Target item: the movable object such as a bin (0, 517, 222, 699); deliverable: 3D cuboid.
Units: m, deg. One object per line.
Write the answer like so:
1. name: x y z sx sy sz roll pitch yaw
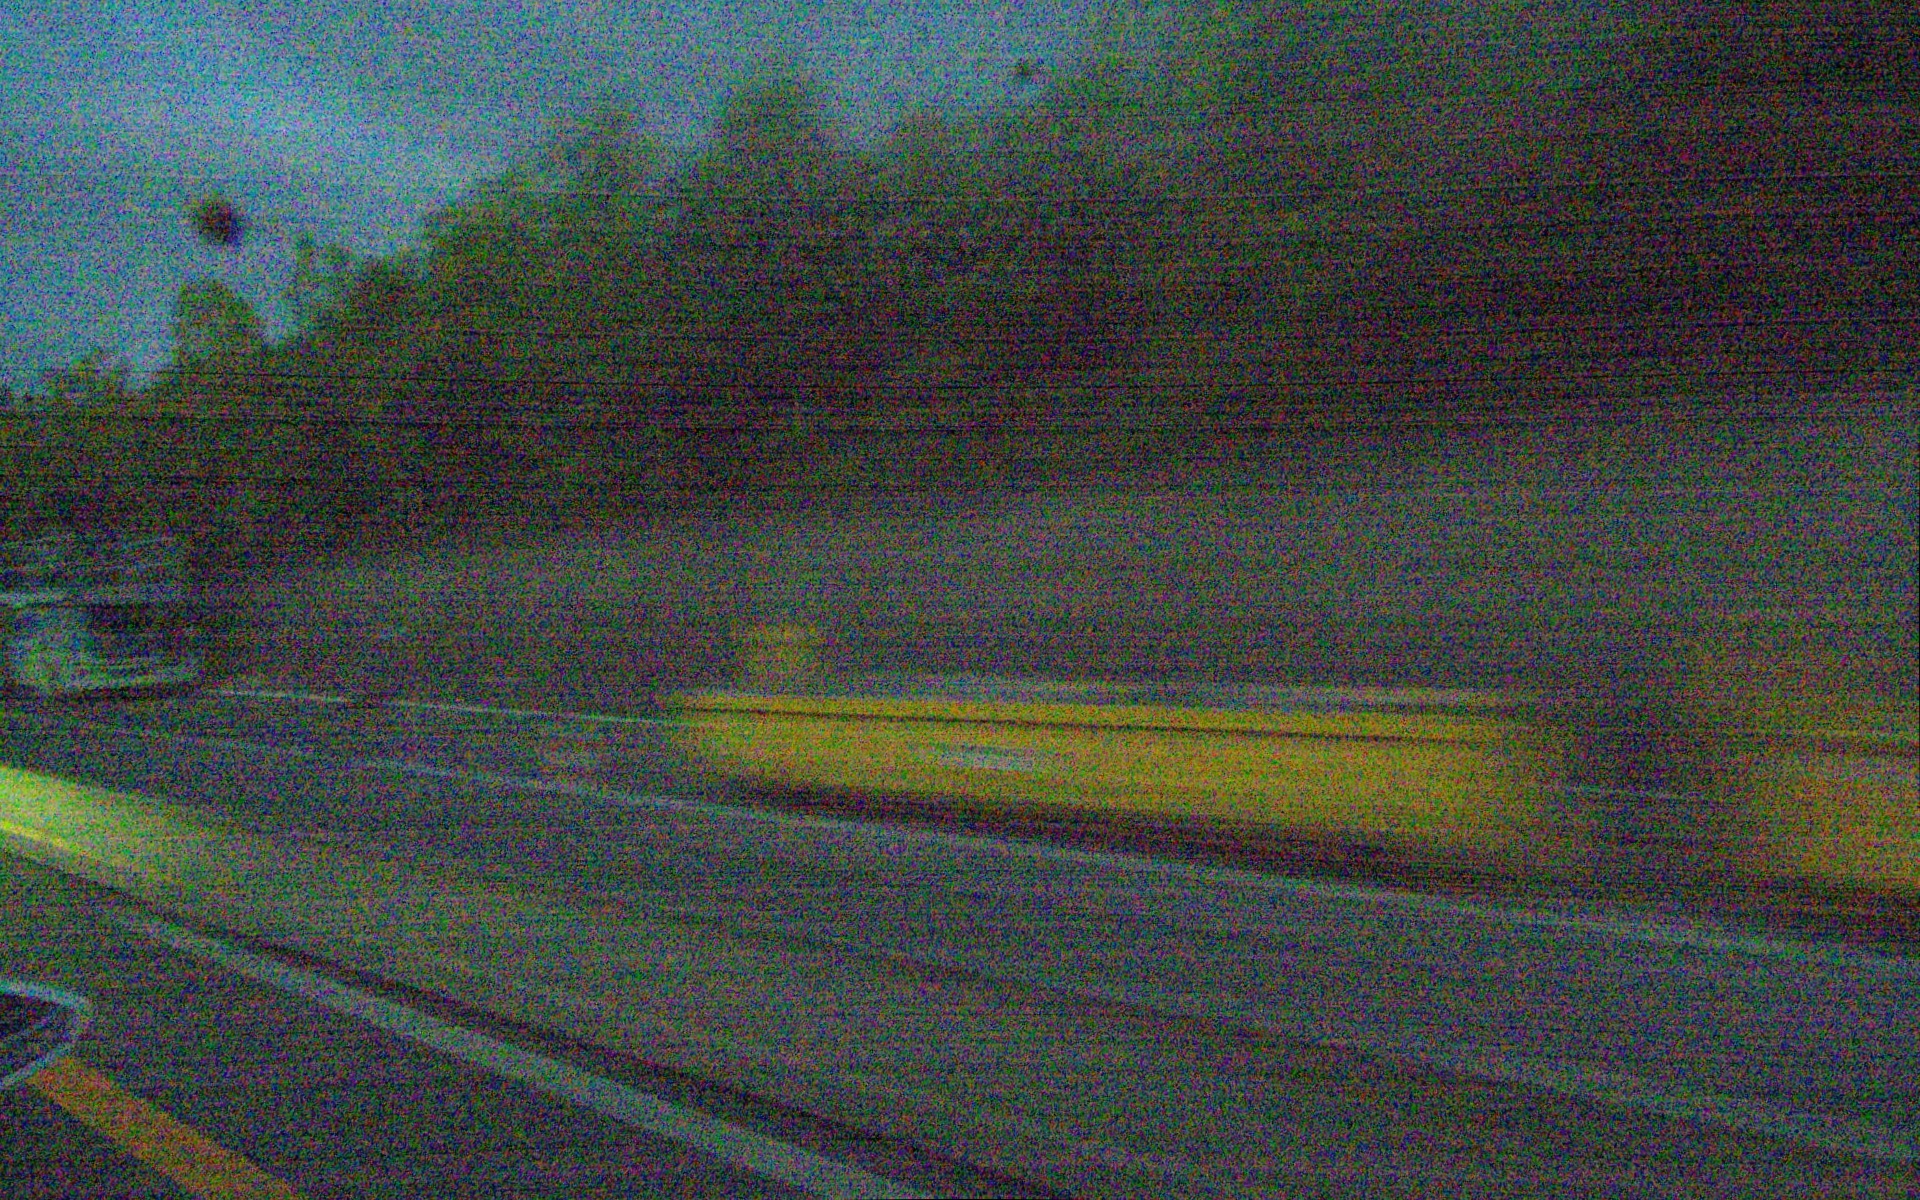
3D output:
1. movable object such as a bin: -18.226 0.196 21.018 5.500 3.362 2.558 -1 0 32
